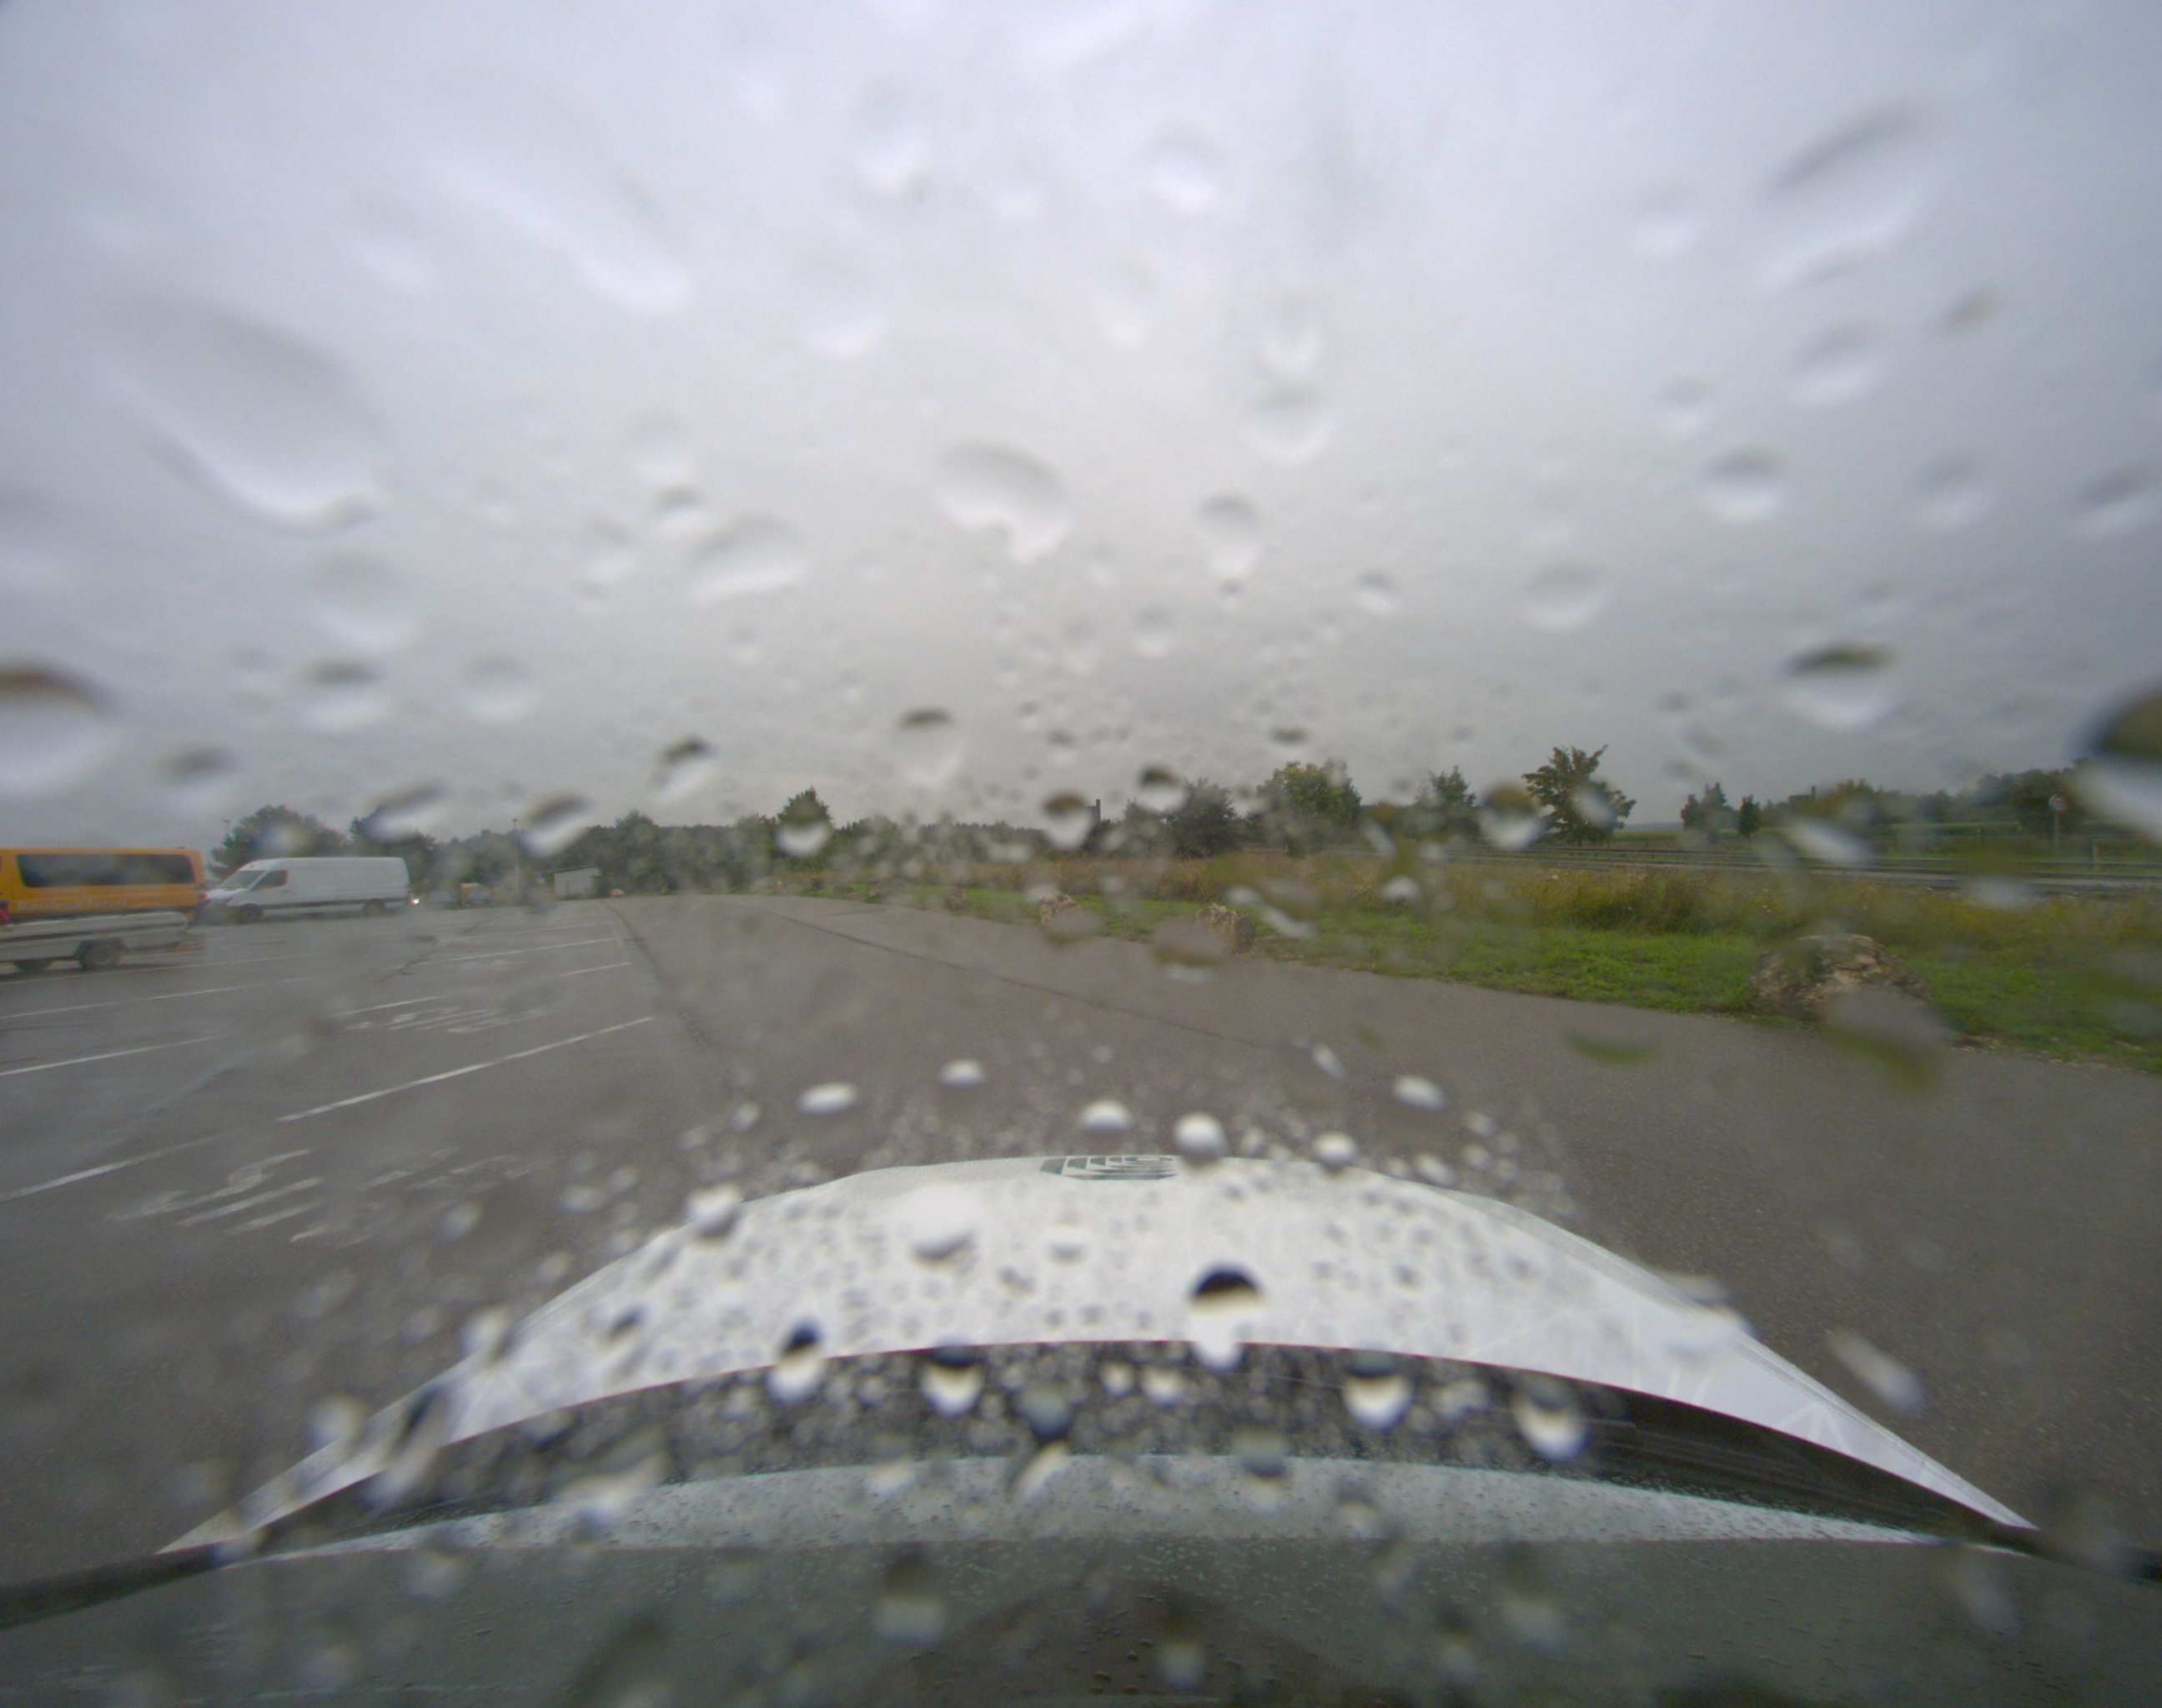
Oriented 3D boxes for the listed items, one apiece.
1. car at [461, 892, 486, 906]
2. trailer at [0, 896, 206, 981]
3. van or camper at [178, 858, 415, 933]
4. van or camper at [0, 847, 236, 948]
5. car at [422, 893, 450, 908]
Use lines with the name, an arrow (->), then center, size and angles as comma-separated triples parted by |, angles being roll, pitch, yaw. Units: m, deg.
car -> -52.696, 3.919, 70.658 | 1.717, 1.000, 3.726 | -1, 0, -36
trailer -> -15.403, 1.238, 11.985 | 1.571, 1.067, 3.043 | -2, -1, 17
van or camper -> -32.135, 1.545, 33.834 | 1.979, 2.715, 7.095 | 0, 0, 14
van or camper -> -24.825, 0.982, 19.287 | 2.112, 2.246, 6.442 | -1, 0, 14
car -> -54.970, 3.944, 69.443 | 1.717, 1.000, 3.726 | -1, 0, -36
